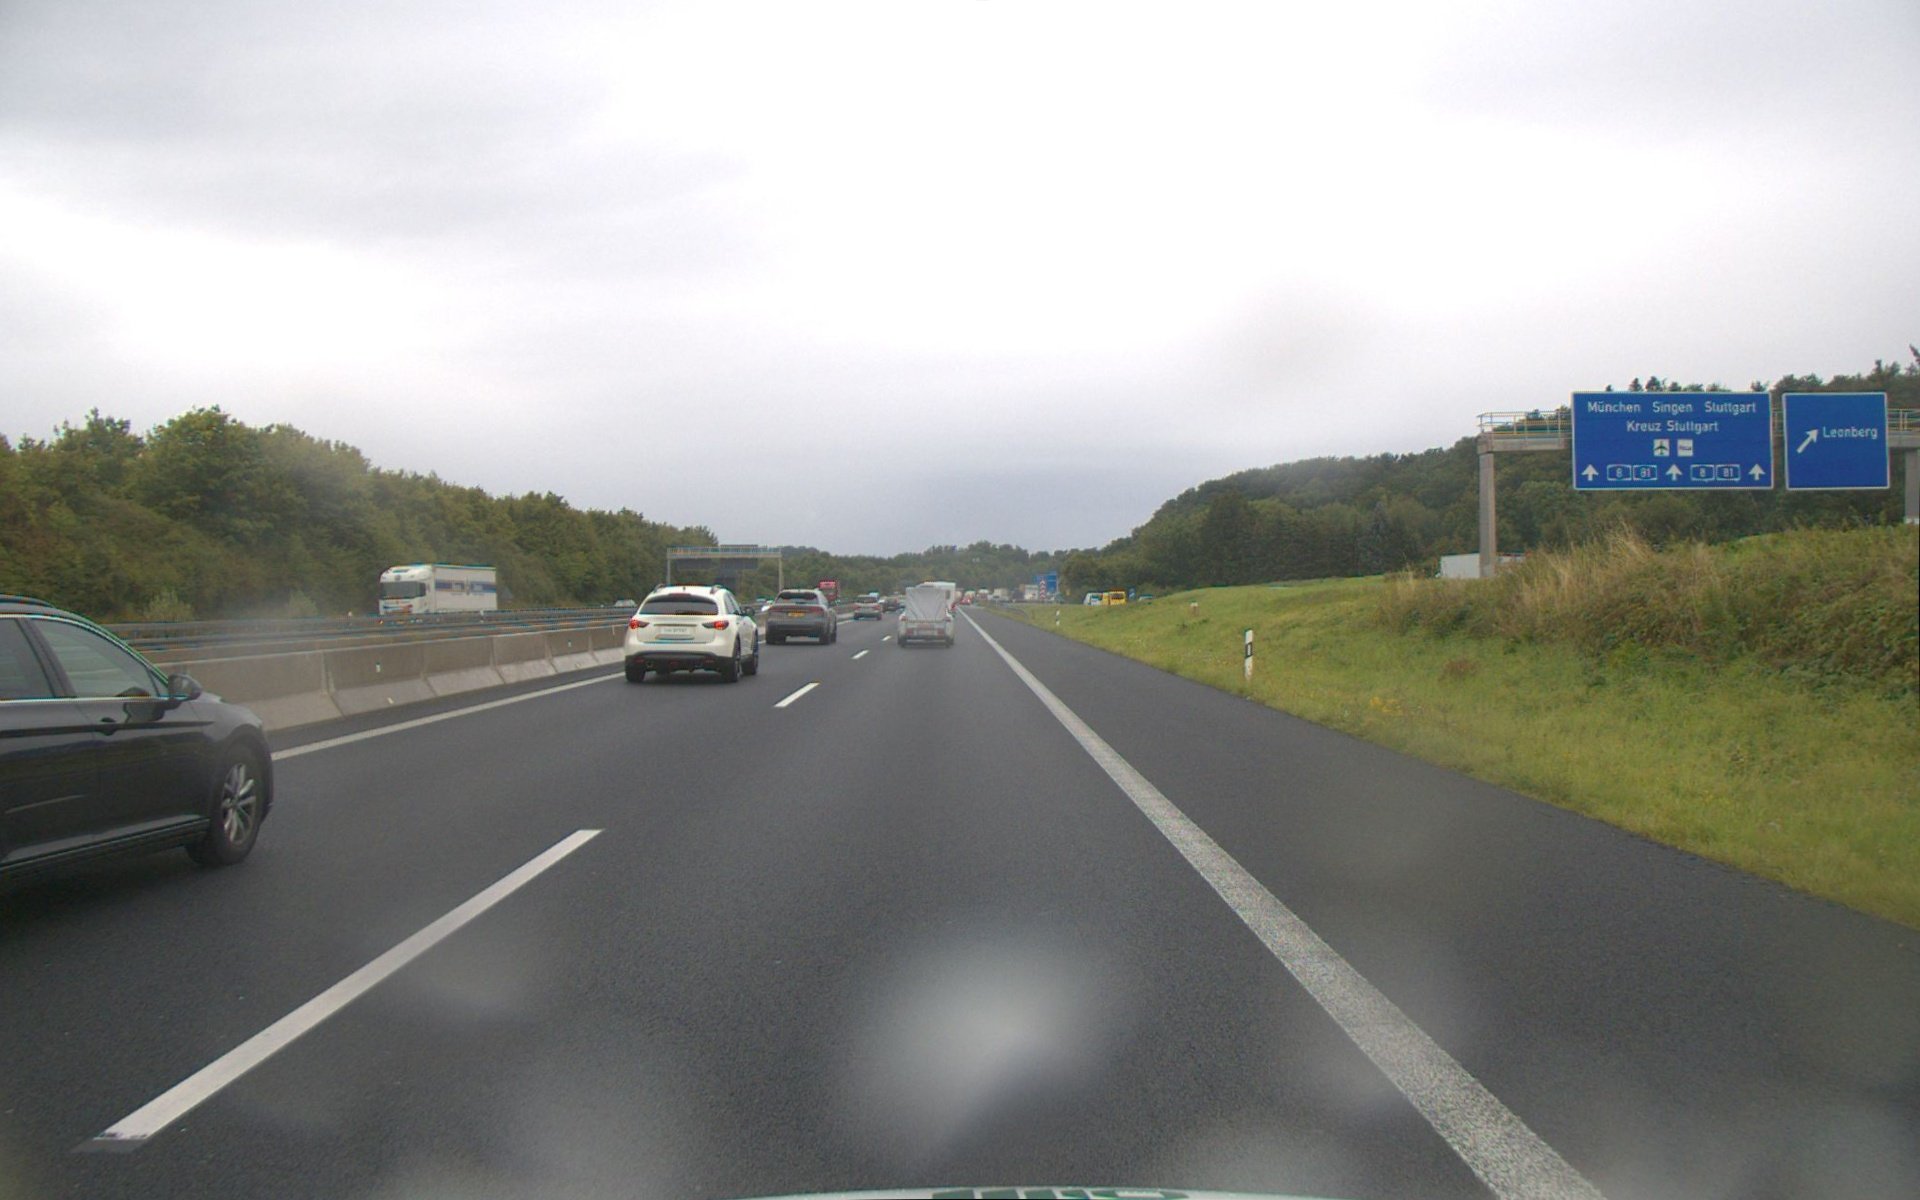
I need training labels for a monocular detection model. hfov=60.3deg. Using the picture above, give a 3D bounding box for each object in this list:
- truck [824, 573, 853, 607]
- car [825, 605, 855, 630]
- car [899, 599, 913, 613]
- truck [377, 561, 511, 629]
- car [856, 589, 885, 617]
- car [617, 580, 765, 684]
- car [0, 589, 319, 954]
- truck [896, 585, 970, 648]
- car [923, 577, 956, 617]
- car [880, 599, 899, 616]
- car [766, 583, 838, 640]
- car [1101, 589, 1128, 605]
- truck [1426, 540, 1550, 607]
[{"bbox_3d":[-17.327,-1.417,236.284,3.330,4.816,10.485,1,0,0],"label":"truck"},{"bbox_3d":[-8.282,1.180,114.760,1.782,1.691,4.017,0,0,0],"label":"car"},{"bbox_3d":[-6.461,0.704,197.715,1.612,1.601,4.000,1,0,0],"label":"car"},{"bbox_3d":[-32.296,-0.323,104.648,3.113,3.875,17.134,-1,0,0],"label":"truck"},{"bbox_3d":[-5.928,0.200,109.599,1.703,1.825,3.999,1,0,-1],"label":"car"},{"bbox_3d":[-4.729,0.529,29.733,2.007,1.700,4.540,1,0,-1],"label":"car"},{"bbox_3d":[-4.759,0.689,7.486,1.750,1.484,4.803,1,0,1],"label":"car"},{"bbox_3d":[-0.890,0.486,52.577,2.197,1.871,6.582,1,0,-1],"label":"truck"},{"bbox_3d":[-1.434,-0.226,119.481,2.284,2.773,6.539,1,0,-1],"label":"car"},{"bbox_3d":[-6.721,0.737,157.177,1.612,1.601,4.000,1,0,0],"label":"car"},{"bbox_3d":[-5.057,0.351,53.464,1.935,1.733,4.801,1,0,-1],"label":"car"},{"bbox_3d":[15.245,-0.291,163.188,1.955,1.579,3.995,1,0,-6],"label":"car"},{"bbox_3d":[30.991,-1.475,97.467,3.753,3.723,8.257,1,0,-8],"label":"truck"}]
